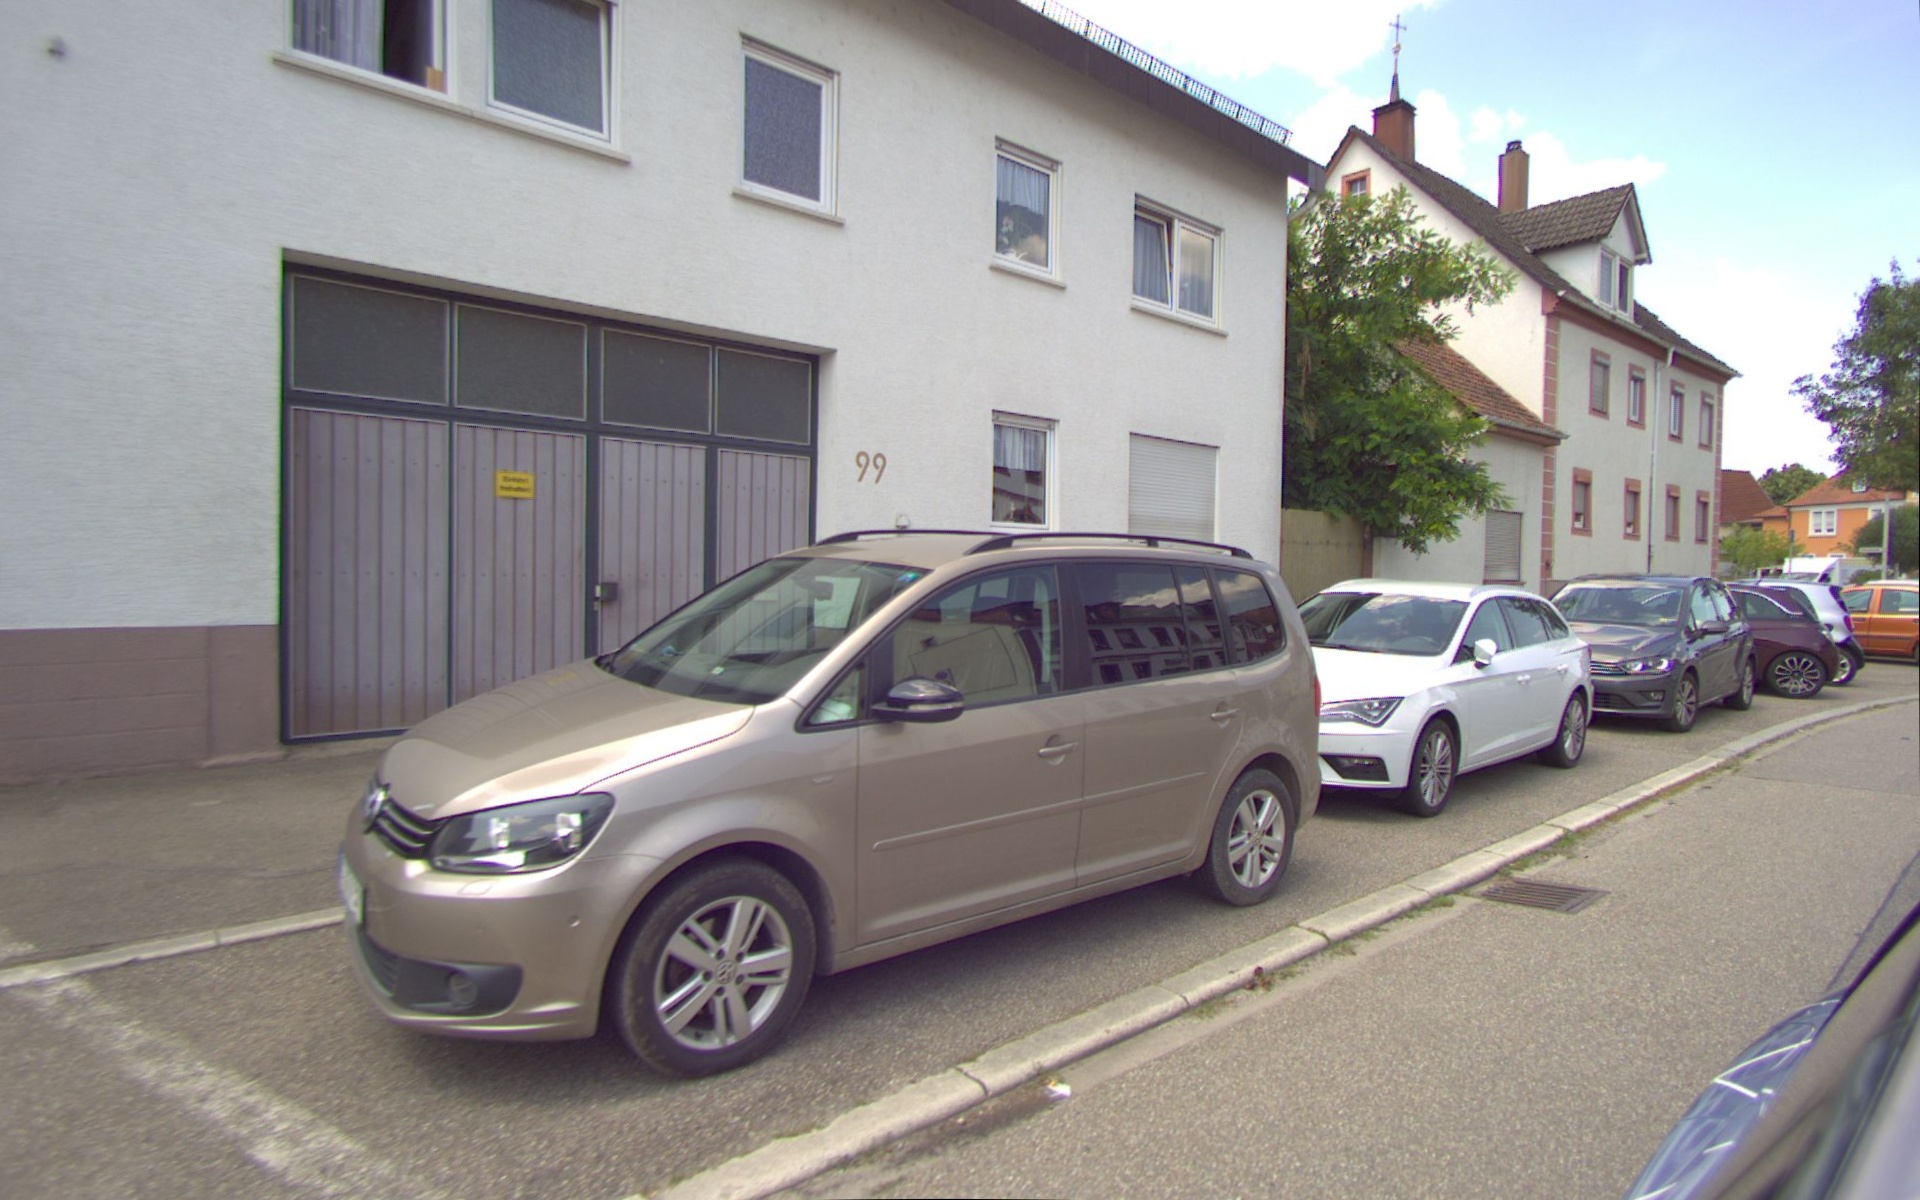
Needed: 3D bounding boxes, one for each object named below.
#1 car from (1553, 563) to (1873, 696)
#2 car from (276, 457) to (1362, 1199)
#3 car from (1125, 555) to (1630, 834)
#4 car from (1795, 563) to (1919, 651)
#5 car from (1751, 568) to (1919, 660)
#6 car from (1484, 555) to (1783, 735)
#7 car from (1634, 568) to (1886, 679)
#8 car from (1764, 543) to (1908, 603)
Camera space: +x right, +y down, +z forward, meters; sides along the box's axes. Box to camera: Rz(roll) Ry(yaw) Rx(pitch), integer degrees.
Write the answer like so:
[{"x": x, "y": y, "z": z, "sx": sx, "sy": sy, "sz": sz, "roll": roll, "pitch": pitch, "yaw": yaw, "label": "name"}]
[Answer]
[{"x": 10.354, "y": 0.316, "z": 14.243, "sx": 3.204, "sy": 1.523, "sz": 1.811, "roll": 4, "pitch": 3, "yaw": 25, "label": "car"}, {"x": -0.331, "y": 0.455, "z": 4.394, "sx": 4.245, "sy": 1.701, "sz": 1.999, "roll": -1, "pitch": 3, "yaw": -39, "label": "car"}, {"x": 3.418, "y": 0.465, "z": 7.867, "sx": 4.298, "sy": 1.536, "sz": 1.996, "roll": -1, "pitch": 3, "yaw": -43, "label": "car"}, {"x": 19.776, "y": 0.157, "z": 20.702, "sx": 1.820, "sy": 1.595, "sz": 3.856, "roll": -4, "pitch": 7, "yaw": -41, "label": "car"}, {"x": 17.701, "y": 0.241, "z": 19.617, "sx": 1.695, "sy": 1.596, "sz": 3.387, "roll": -1, "pitch": 4, "yaw": -38, "label": "car"}, {"x": 7.676, "y": 0.370, "z": 11.376, "sx": 4.196, "sy": 1.644, "sz": 1.666, "roll": -1, "pitch": 3, "yaw": -40, "label": "car"}, {"x": 12.494, "y": 0.297, "z": 16.037, "sx": 2.763, "sy": 1.523, "sz": 1.860, "roll": 3, "pitch": 3, "yaw": 28, "label": "car"}, {"x": 46.634, "y": -1.472, "z": 53.891, "sx": 6.964, "sy": 2.998, "sz": 2.769, "roll": 0, "pitch": 3, "yaw": -21, "label": "car"}]
